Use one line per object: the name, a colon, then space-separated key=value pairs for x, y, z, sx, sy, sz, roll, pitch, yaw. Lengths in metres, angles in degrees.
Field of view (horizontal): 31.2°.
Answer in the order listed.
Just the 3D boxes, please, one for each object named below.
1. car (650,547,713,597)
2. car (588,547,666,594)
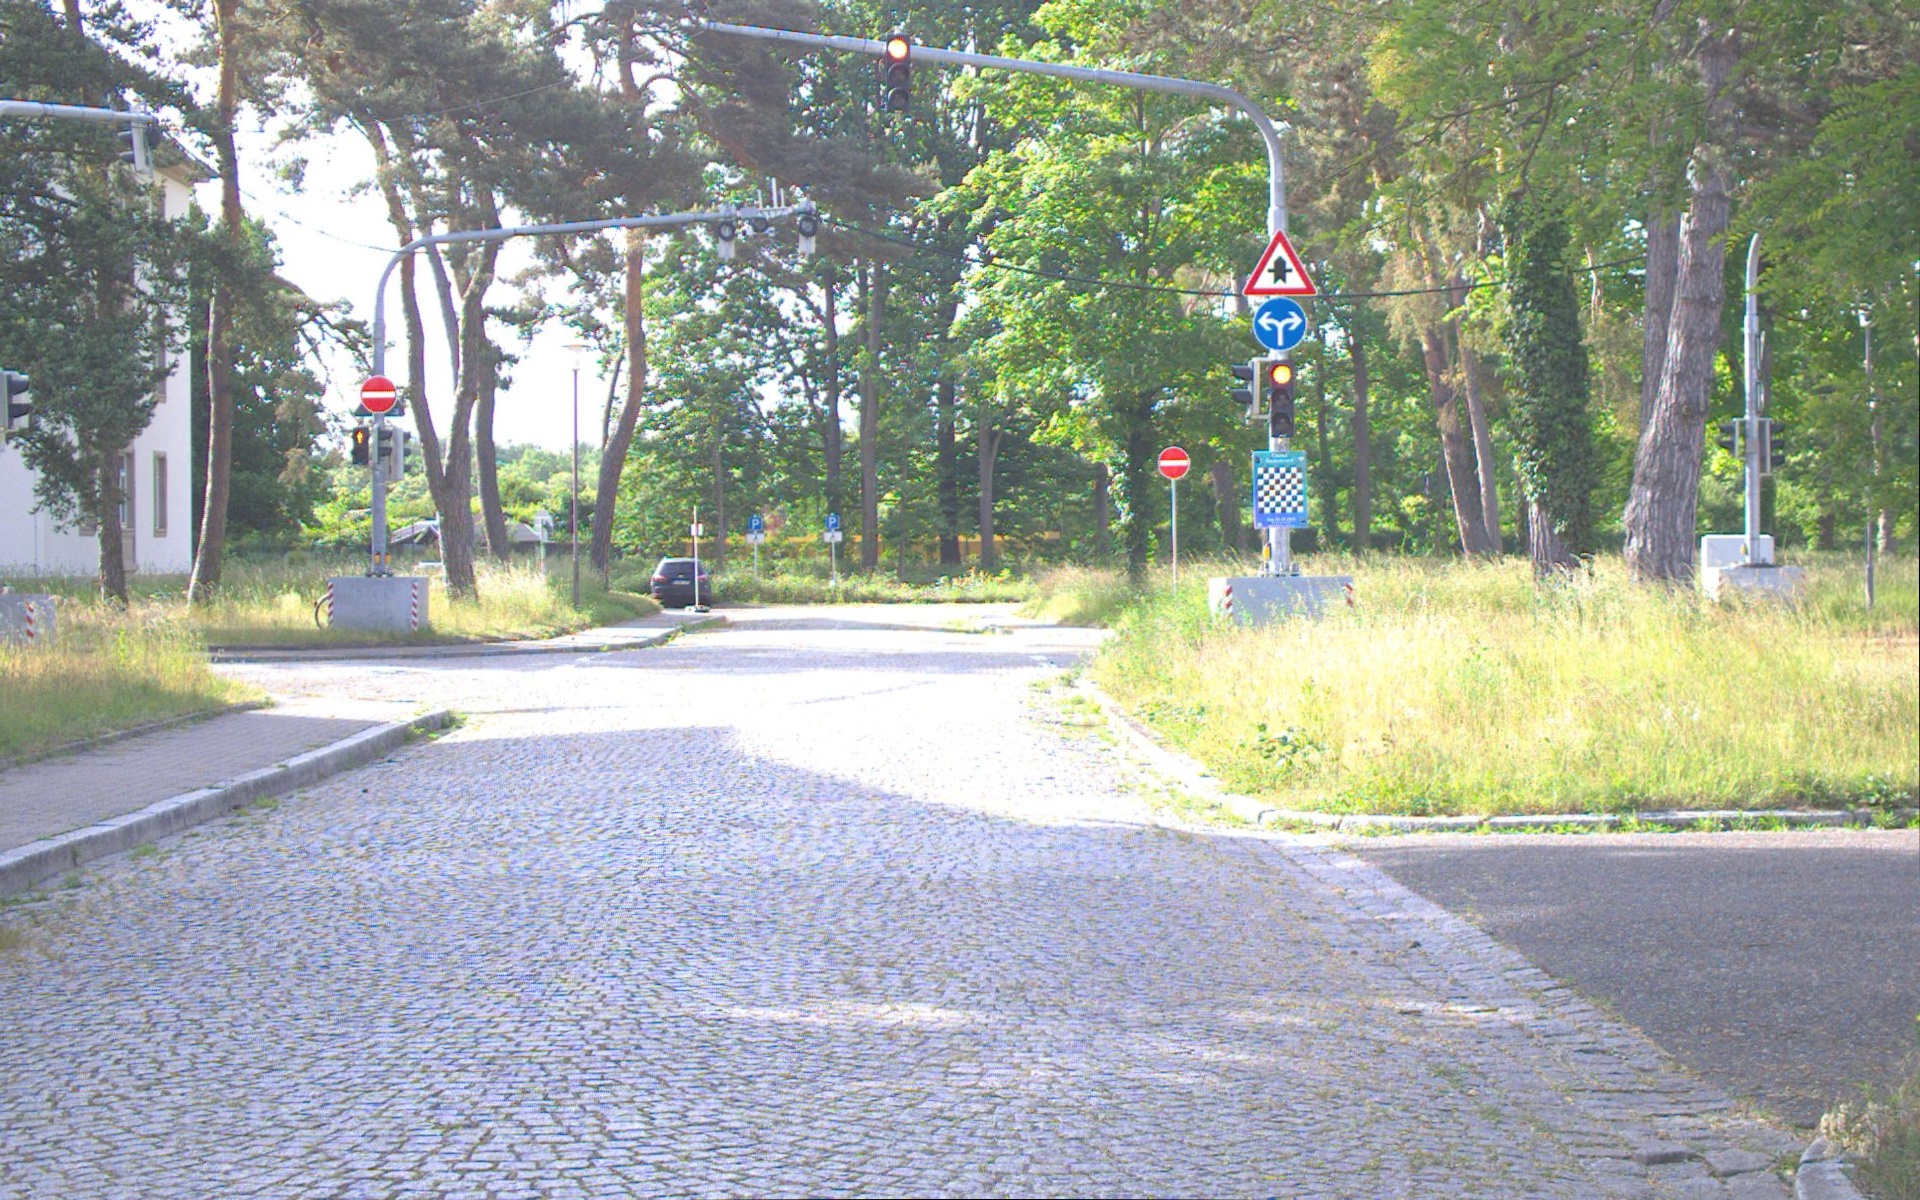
car: x=-8.551 y=-0.869 z=105.884 sx=1.844 sy=1.481 sz=4.001 roll=0 pitch=1 yaw=-4
car: x=-10.684 y=-0.954 z=110.649 sx=1.783 sy=1.485 sz=3.754 roll=0 pitch=1 yaw=6
